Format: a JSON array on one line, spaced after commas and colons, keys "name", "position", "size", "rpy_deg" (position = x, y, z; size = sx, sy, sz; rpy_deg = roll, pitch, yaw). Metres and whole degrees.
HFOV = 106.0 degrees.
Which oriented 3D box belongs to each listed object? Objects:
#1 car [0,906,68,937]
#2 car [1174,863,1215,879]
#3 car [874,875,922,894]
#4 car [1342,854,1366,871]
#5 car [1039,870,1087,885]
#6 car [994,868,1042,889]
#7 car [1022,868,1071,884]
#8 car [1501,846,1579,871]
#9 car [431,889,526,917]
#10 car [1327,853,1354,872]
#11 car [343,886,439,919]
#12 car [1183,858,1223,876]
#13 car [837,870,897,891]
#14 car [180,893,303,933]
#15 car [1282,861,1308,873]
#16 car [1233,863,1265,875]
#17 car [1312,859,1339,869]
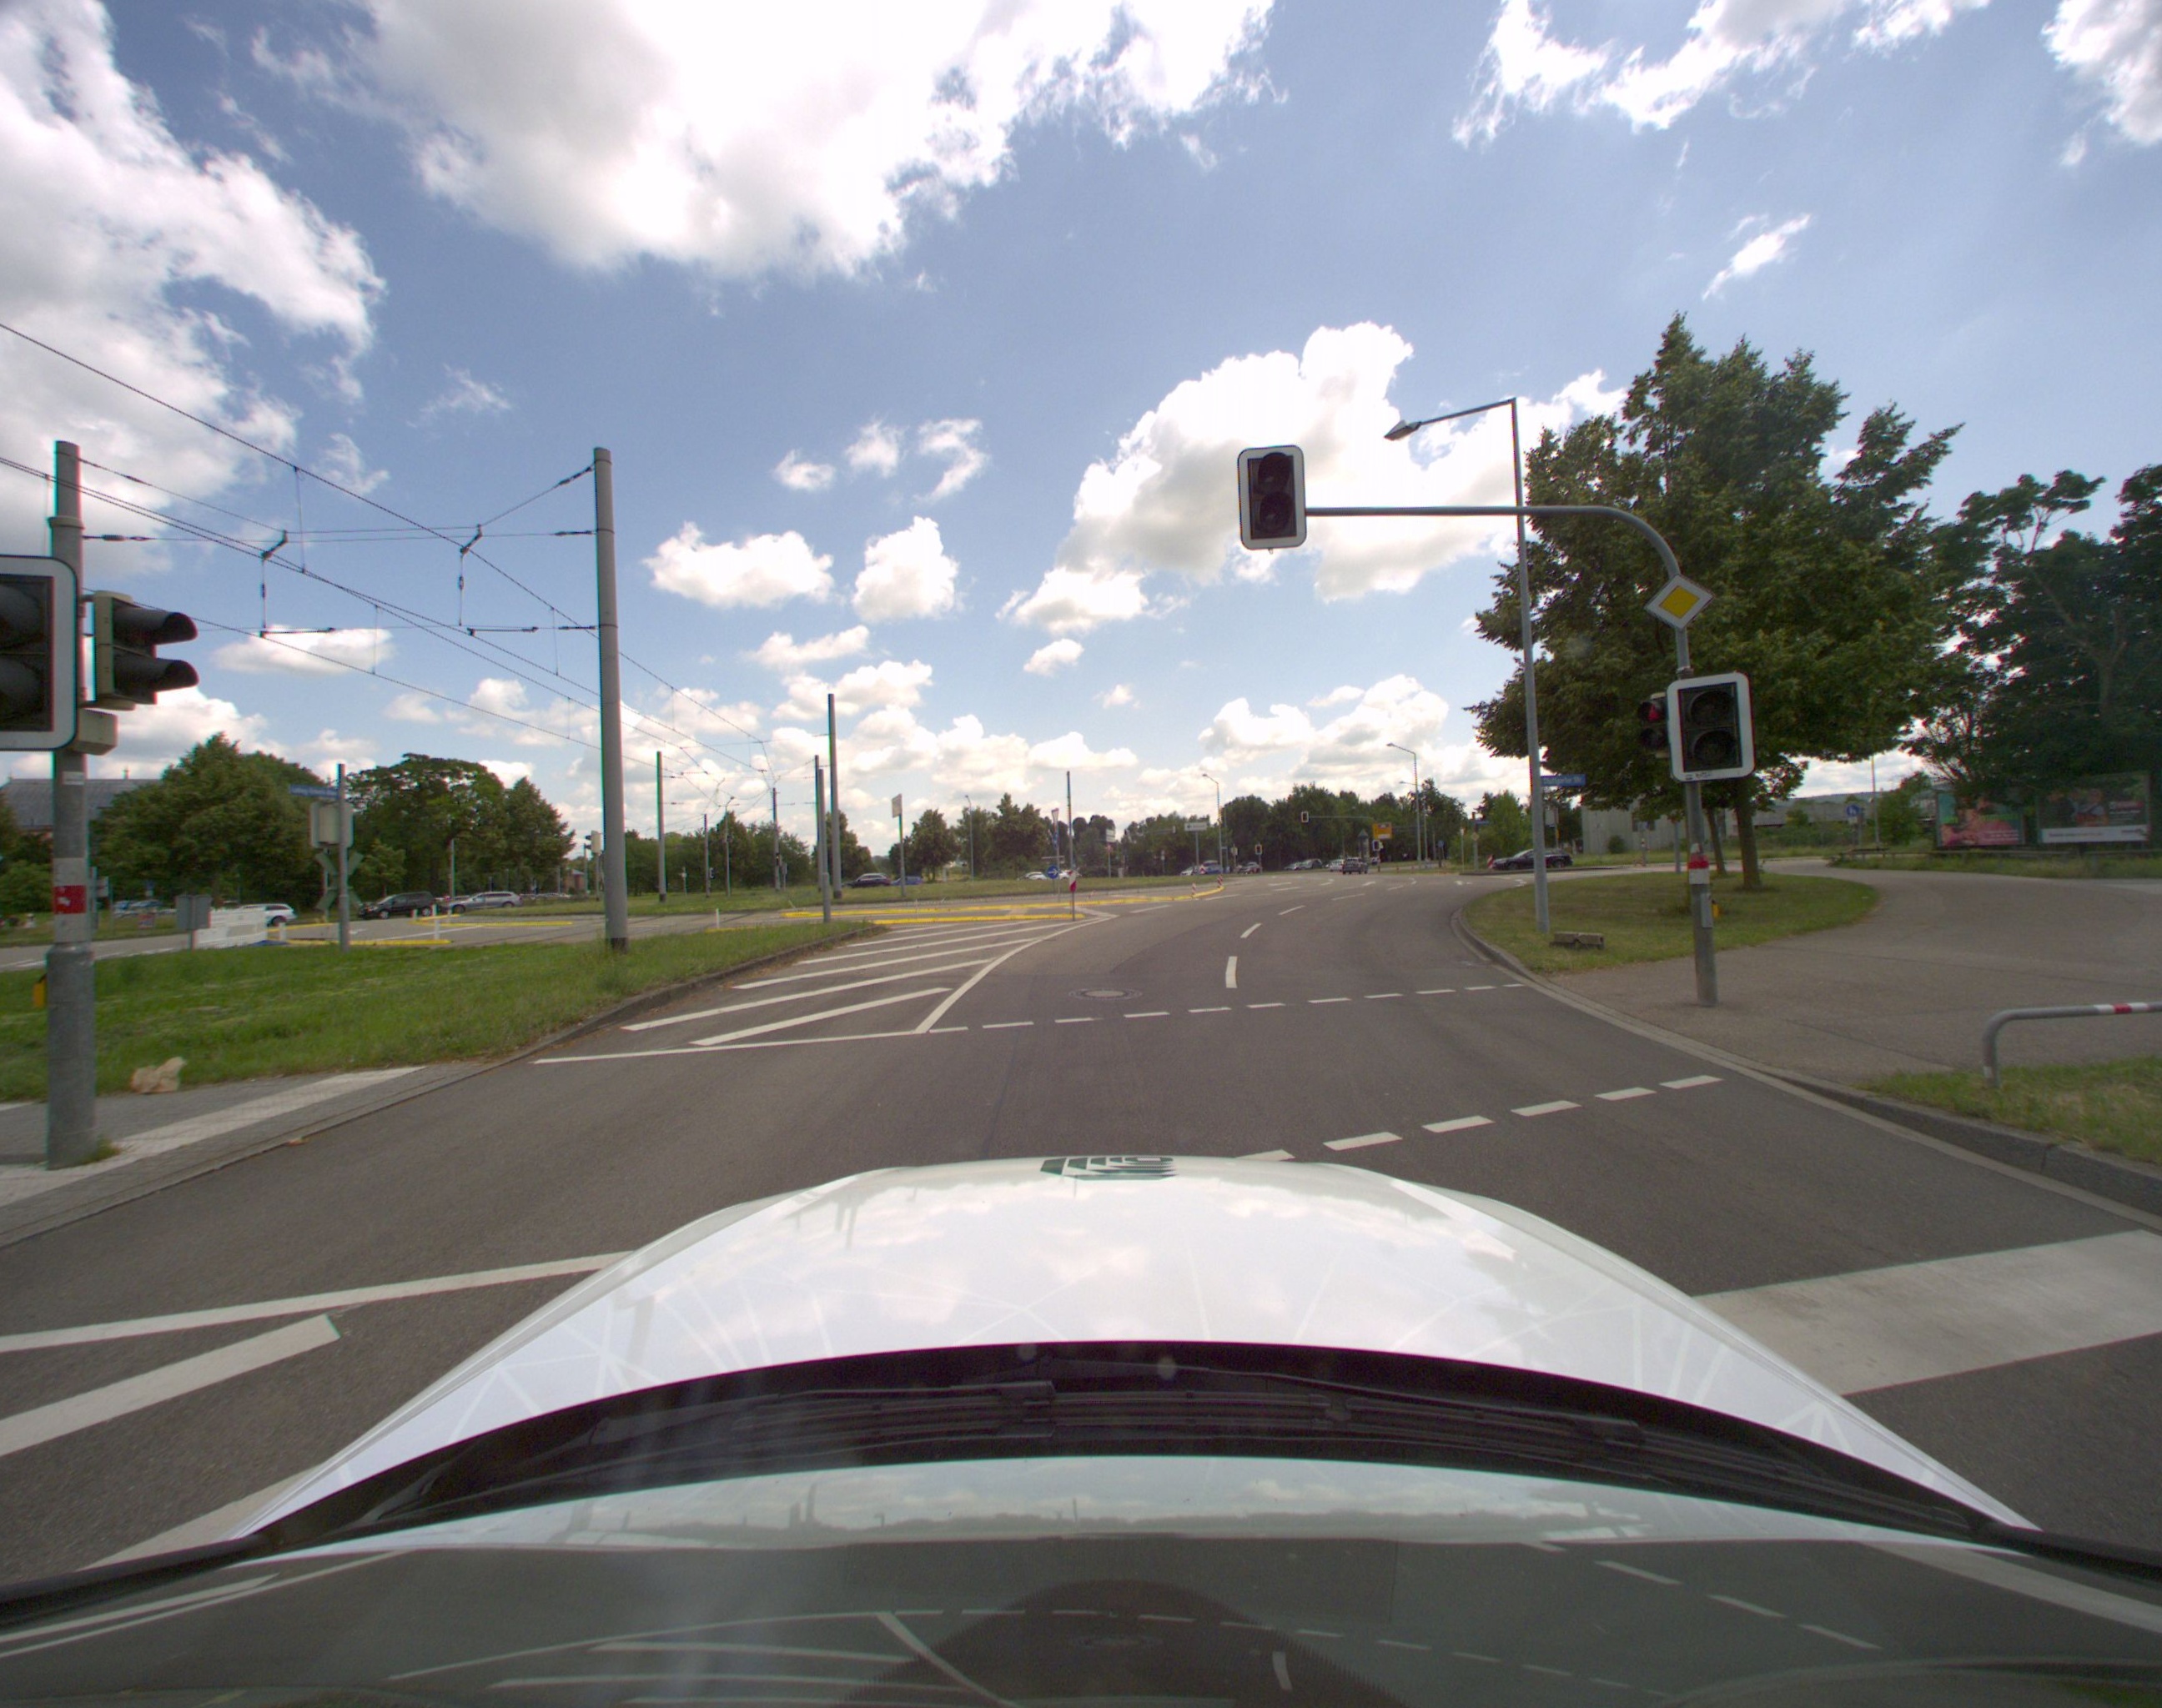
[{"name": "car", "position": [-79.538, 5.076, 61.664], "size": [2.004, 2.014, 3.965], "rpy_deg": [-2, -1, -27]}, {"name": "car", "position": [12.926, 1.929, 92.513], "size": [4.530, 1.521, 2.099], "rpy_deg": [-2, -1, -39]}, {"name": "car", "position": [-18.781, 3.137, 83.735], "size": [4.717, 1.791, 1.840], "rpy_deg": [-1, 0, -14]}, {"name": "car", "position": [27.459, 0.845, 81.779], "size": [1.976, 1.626, 4.332], "rpy_deg": [-1, -1, 22]}, {"name": "car", "position": [-1.834, 2.456, 83.830], "size": [4.500, 1.323, 1.937], "rpy_deg": [-2, -1, -27]}, {"name": "car", "position": [-6.613, 2.537, 85.451], "size": [4.717, 2.014, 1.990], "rpy_deg": [-2, -1, -14]}, {"name": "car", "position": [-3.309, 2.093, 78.270], "size": [4.315, 1.329, 1.985], "rpy_deg": [-2, -1, -23]}, {"name": "car", "position": [29.260, 0.301, 51.972], "size": [3.964, 1.463, 1.693], "rpy_deg": [-1, -1, 8]}, {"name": "car", "position": [-42.680, 3.424, 57.834], "size": [2.040, 1.626, 4.975], "rpy_deg": [-1, 0, 31]}, {"name": "car", "position": [30.554, 0.982, 95.843], "size": [1.974, 2.014, 4.026], "rpy_deg": [-3, -1, 34]}, {"name": "car", "position": [-48.520, 3.364, 57.407], "size": [1.977, 2.014, 4.748], "rpy_deg": [-3, -1, 18]}, {"name": "car", "position": [13.239, 1.404, 88.085], "size": [4.431, 1.798, 1.735], "rpy_deg": [-2, -1, -40]}, {"name": "car", "position": [-19.427, 2.407, 73.914], "size": [5.074, 1.675, 1.985], "rpy_deg": [-2, -1, -22]}, {"name": "car", "position": [-50.371, 3.479, 49.035], "size": [1.979, 2.014, 4.744], "rpy_deg": [-3, -1, 15]}, {"name": "car", "position": [29.331, 1.750, 111.374], "size": [1.887, 1.423, 4.218], "rpy_deg": [-3, -1, 37]}, {"name": "car", "position": [20.997, 1.862, 101.682], "size": [4.002, 1.340, 1.781], "rpy_deg": [-2, -3, -43]}, {"name": "car", "position": [36.227, 1.488, 120.799], "size": [1.820, 1.311, 4.817], "rpy_deg": [-6, -4, 42]}]
